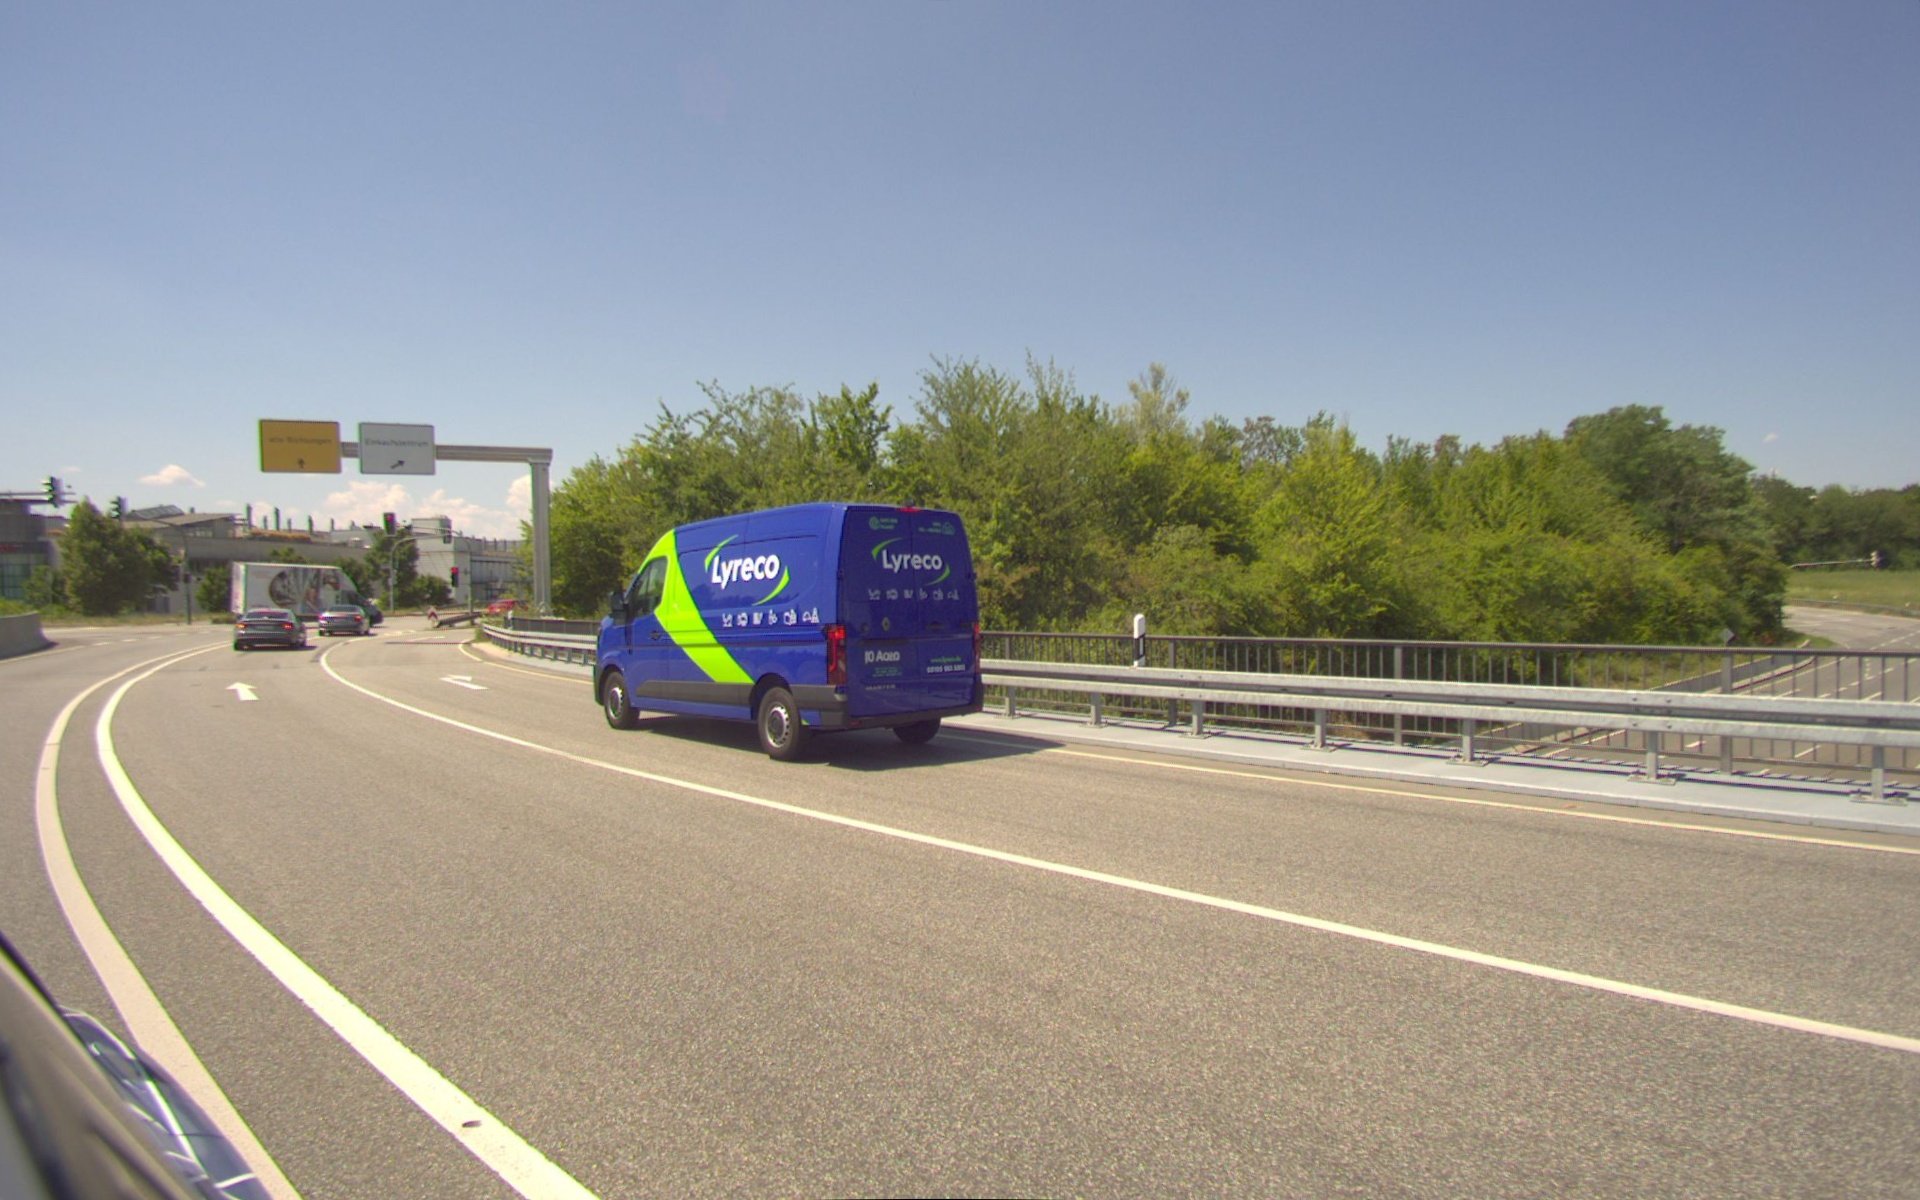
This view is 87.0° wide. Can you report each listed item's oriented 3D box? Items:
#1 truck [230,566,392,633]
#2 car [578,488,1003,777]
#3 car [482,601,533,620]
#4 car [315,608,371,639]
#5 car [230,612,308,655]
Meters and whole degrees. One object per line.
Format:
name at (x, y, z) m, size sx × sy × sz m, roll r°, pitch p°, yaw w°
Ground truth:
truck at (-35.395, -0.128, 55.418) m, size 2.417 × 3.372 × 7.099 m, roll 4°, pitch 4°, yaw 44°
car at (-2.179, 0.307, 11.440) m, size 1.970 × 2.503 × 5.485 m, roll 0°, pitch -1°, yaw -44°
car at (-35.190, 0.797, 78.826) m, size 1.645 × 1.399 × 4.444 m, roll 1°, pitch -1°, yaw 4°
car at (-28.640, 1.082, 47.061) m, size 1.622 × 1.362 × 3.982 m, roll 2°, pitch -1°, yaw -23°
car at (-23.983, 1.135, 35.257) m, size 1.754 × 1.395 × 4.295 m, roll 1°, pitch -1°, yaw -28°
